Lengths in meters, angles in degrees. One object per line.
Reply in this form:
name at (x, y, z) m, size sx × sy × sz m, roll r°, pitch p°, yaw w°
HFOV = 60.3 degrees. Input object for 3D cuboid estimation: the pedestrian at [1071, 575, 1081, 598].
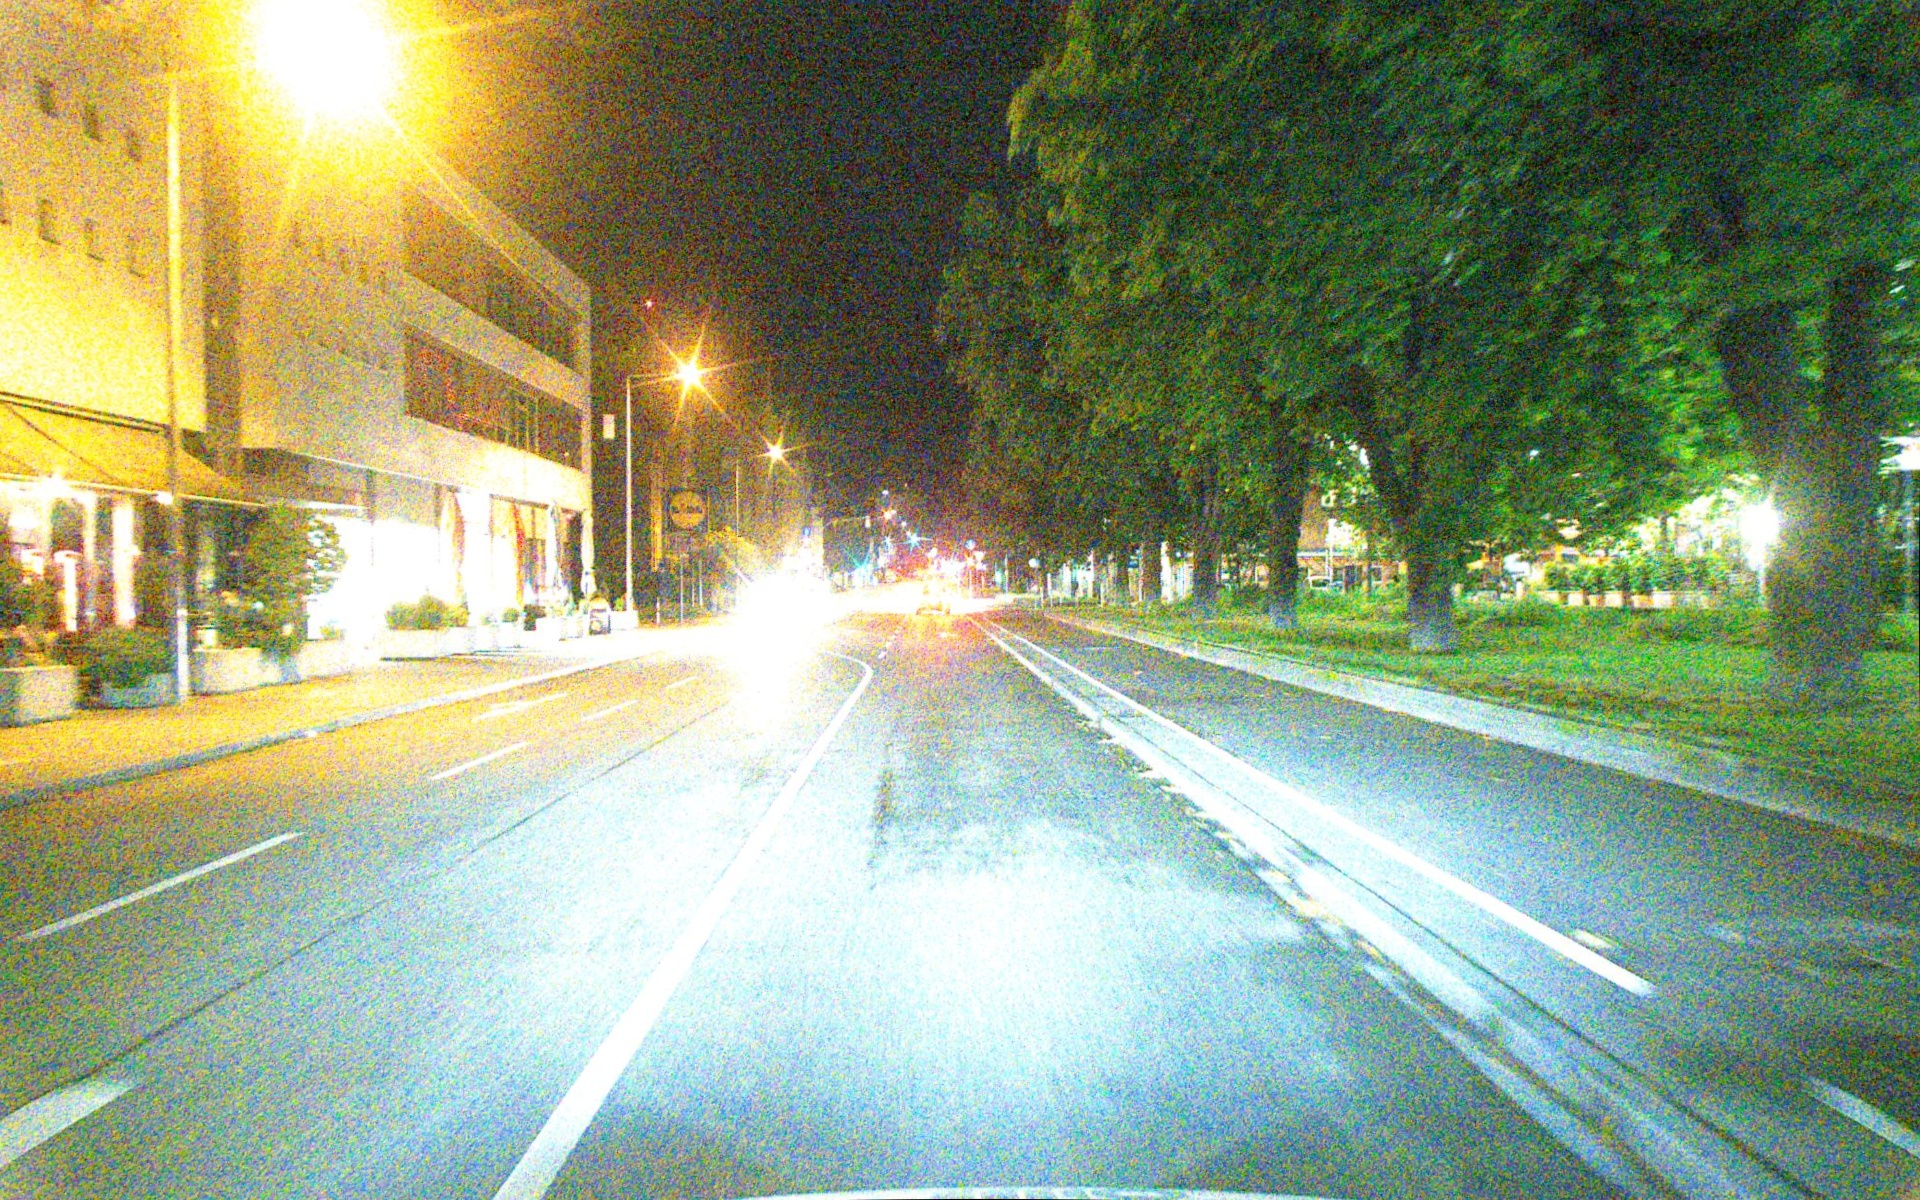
pedestrian at (9.075, -1.075, 129.605) m, size 0.699 × 1.800 × 0.907 m, roll -1°, pitch 0°, yaw -2°

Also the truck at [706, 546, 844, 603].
truck at (-13.627, -1.857, 121.871) m, size 9.889 × 3.782 × 2.760 m, roll -2°, pitch 0°, yaw -8°

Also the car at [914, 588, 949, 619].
car at (-1.468, 0.152, 86.609) m, size 1.768 × 1.520 × 4.729 m, roll 1°, pitch 0°, yaw -1°

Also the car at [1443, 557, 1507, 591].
car at (24.745, -1.232, 79.558) m, size 1.732 × 1.560 × 4.097 m, roll -1°, pitch 0°, yaw -1°

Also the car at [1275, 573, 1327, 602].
car at (19.190, -0.688, 93.225) m, size 1.747 × 1.560 × 3.995 m, roll -1°, pitch 0°, yaw -6°

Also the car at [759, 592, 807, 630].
car at (-7.358, 0.444, 68.983) m, size 1.633 × 1.453 × 3.998 m, roll -2°, pitch 0°, yaw -2°

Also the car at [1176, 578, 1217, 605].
car at (13.141, -0.482, 92.134) m, size 1.482 × 1.419 × 4.480 m, roll -1°, pitch 0°, yaw -2°

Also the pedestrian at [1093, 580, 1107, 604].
pedestrian at (11.027, -0.641, 129.866) m, size 0.884 × 1.800 × 0.905 m, roll -1°, pitch 0°, yaw -7°

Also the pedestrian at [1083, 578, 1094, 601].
pedestrian at (10.071, -0.853, 129.725) m, size 0.724 × 1.800 × 0.907 m, roll -1°, pitch 0°, yaw -2°
